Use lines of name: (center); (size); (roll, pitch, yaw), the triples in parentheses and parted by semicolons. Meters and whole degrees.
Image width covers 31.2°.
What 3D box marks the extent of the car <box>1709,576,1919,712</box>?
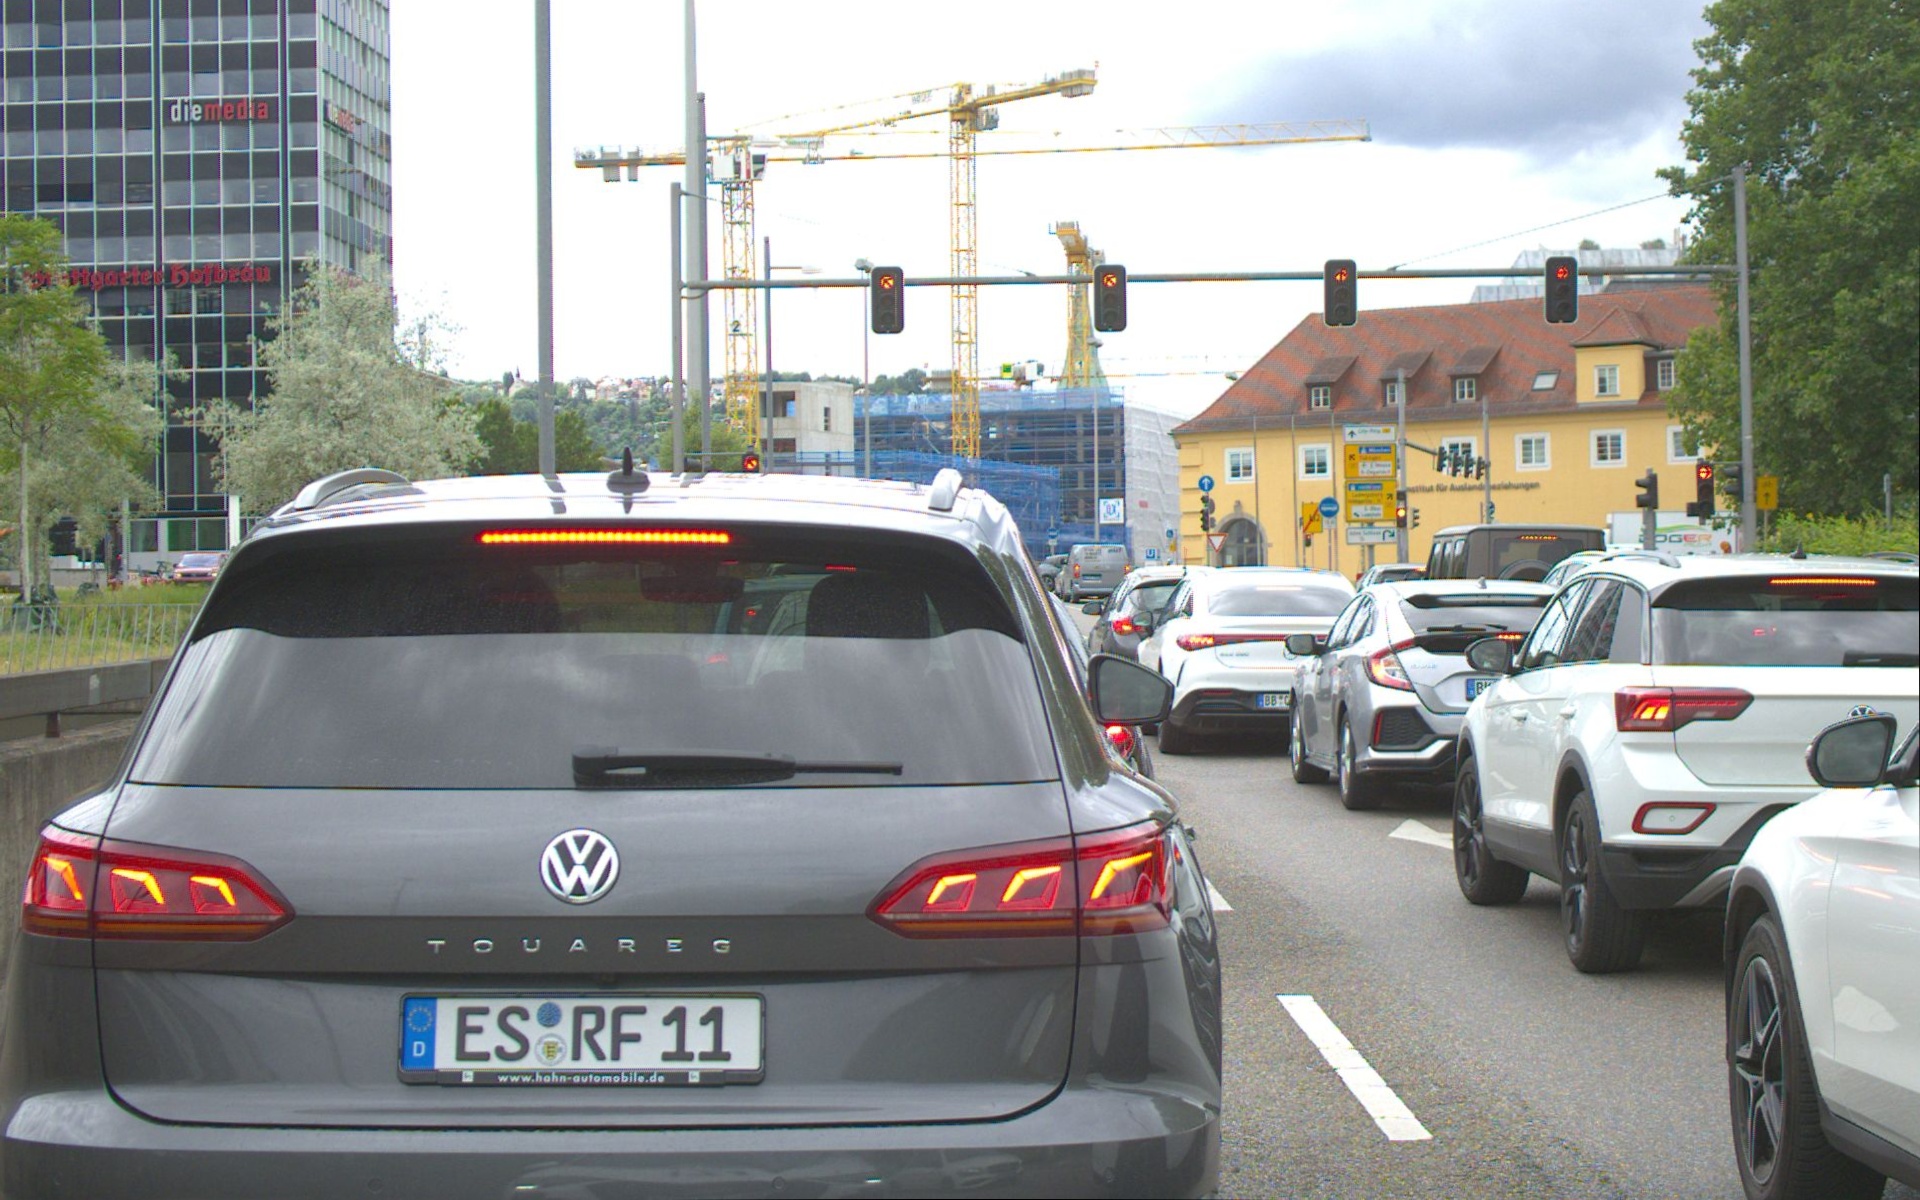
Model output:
car: (9.972, 0.499, 39.786); (1.932, 1.455, 4.526); (1, 0, 5)

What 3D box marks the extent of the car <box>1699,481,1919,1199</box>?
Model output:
car: (2.743, 0.605, 6.136); (1.926, 1.648, 4.490); (0, 1, 1)

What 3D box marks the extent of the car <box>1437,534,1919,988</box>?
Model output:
car: (3.198, 0.550, 14.006); (1.926, 1.545, 4.489); (0, 0, 1)
